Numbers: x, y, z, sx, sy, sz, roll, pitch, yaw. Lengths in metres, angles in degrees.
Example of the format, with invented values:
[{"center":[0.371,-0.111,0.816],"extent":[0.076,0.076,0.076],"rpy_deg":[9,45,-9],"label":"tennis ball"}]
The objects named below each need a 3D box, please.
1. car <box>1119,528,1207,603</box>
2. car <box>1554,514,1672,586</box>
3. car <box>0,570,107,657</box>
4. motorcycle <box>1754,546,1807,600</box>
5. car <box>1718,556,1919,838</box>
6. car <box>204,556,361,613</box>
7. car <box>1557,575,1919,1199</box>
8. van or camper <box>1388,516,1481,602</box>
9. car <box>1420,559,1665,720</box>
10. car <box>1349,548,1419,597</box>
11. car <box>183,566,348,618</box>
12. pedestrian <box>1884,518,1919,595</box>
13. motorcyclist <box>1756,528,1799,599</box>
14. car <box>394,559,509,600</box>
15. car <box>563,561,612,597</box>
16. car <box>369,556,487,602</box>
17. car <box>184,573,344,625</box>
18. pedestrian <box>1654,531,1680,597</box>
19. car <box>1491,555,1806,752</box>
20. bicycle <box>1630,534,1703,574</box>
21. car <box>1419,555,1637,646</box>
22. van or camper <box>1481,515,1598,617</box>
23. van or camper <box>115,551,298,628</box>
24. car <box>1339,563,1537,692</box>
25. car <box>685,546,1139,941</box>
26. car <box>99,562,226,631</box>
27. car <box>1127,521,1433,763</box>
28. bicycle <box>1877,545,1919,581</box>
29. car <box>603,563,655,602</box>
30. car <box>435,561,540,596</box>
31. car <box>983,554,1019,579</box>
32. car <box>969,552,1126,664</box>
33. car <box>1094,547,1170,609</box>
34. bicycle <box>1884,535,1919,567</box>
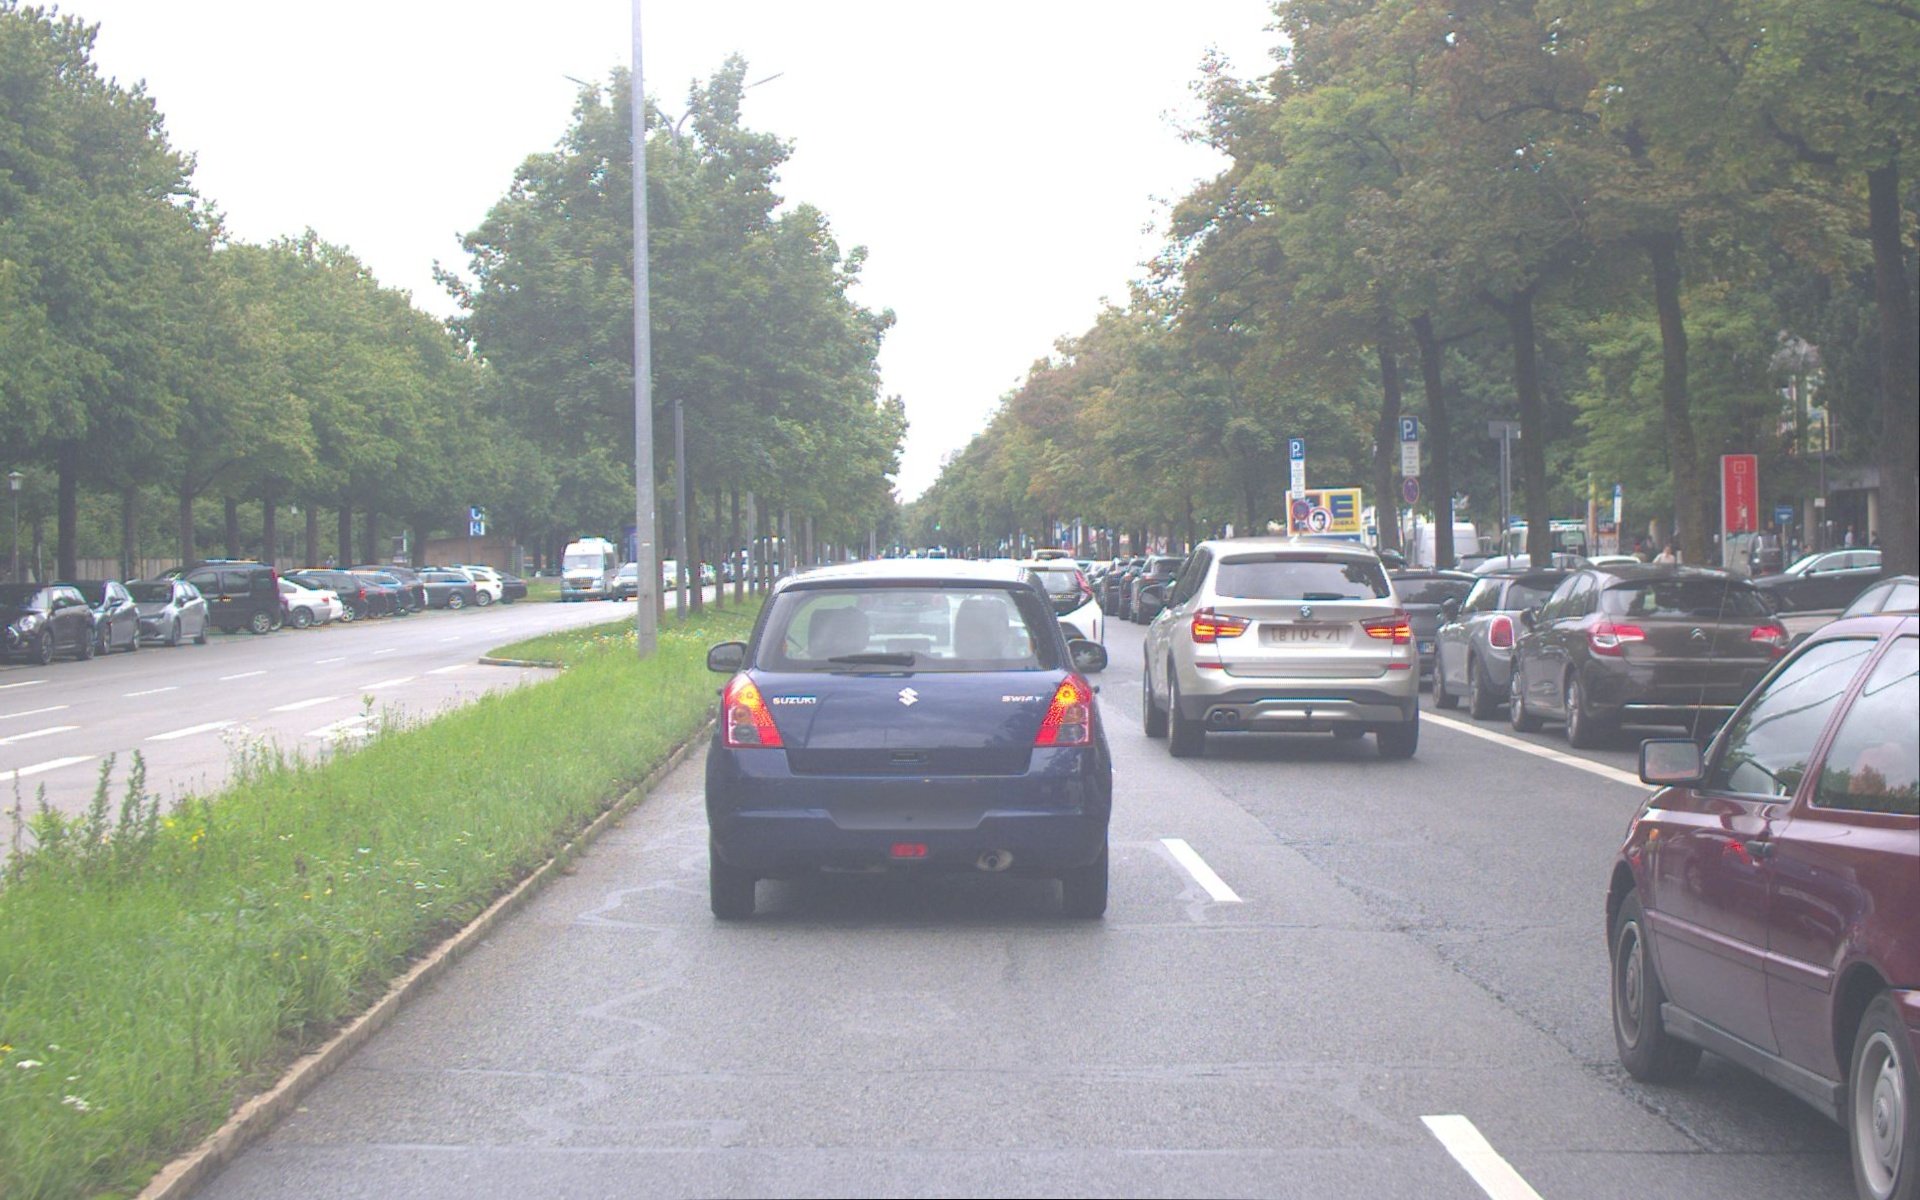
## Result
[{"center":[4.750,-0.823,81.069],"extent":[1.761,1.695,4.820],"rpy_deg":[-1,1,0],"label":"car"},{"center":[15.510,-1.178,81.848],"extent":[1.993,1.645,4.000],"rpy_deg":[-1,1,0],"label":"car"},{"center":[-17.152,0.219,63.369],"extent":[1.571,1.498,4.303],"rpy_deg":[1,1,3],"label":"car"},{"center":[20.538,-0.678,86.122],"extent":[0.696,1.286,2.066],"rpy_deg":[-5,1,-1],"label":"motorcycle"},{"center":[5.856,0.524,20.759],"extent":[1.542,1.529,4.091],"rpy_deg":[2,1,-1],"label":"car"},{"center":[-20.035,-0.471,101.724],"extent":[4.096,1.592,1.919],"rpy_deg":[-1,1,-39],"label":"car"},{"center":[2.692,0.677,8.576],"extent":[1.622,1.449,3.950],"rpy_deg":[-1,1,-1],"label":"car"},{"center":[14.728,-1.283,106.992],"extent":[2.024,2.549,5.957],"rpy_deg":[-1,1,0],"label":"van or camper"},{"center":[5.588,0.336,33.408],"extent":[1.634,1.448,4.078],"rpy_deg":[-1,1,-1],"label":"car"},{"center":[14.597,-0.964,118.514],"extent":[1.684,1.627,4.499],"rpy_deg":[-1,1,-2],"label":"car"},{"center":[-18.835,-0.226,93.272],"extent":[3.987,1.349,1.850],"rpy_deg":[-1,1,-35],"label":"car"},{"center":[21.630,-1.002,78.349],"extent":[0.828,1.715,0.940],"rpy_deg":[-3,1,-1],"label":"pedestrian"},{"center":[20.529,-0.914,86.359],"extent":[0.691,1.731,0.953],"rpy_deg":[-5,1,-1],"label":"motorcyclist"},{"center":[-20.262,-0.816,137.044],"extent":[4.095,1.579,1.919],"rpy_deg":[-1,1,-34],"label":"car"},{"center":[-16.763,-0.947,154.755],"extent":[1.913,1.537,4.188],"rpy_deg":[-1,1,-2],"label":"car"},{"center":[-20.641,-0.819,133.406],"extent":[4.095,1.689,1.919],"rpy_deg":[-1,1,-34],"label":"car"},{"center":[-19.444,-0.053,96.103],"extent":[4.031,1.377,1.674],"rpy_deg":[-1,1,-36],"label":"car"},{"center":[18.821,-0.965,91.542],"extent":[0.575,1.745,0.732],"rpy_deg":[0,1,4],"label":"pedestrian"},{"center":[5.658,0.386,28.718],"extent":[1.717,1.503,4.224],"rpy_deg":[-1,1,-1],"label":"car"},{"center":[26.836,-1.743,130.593],"extent":[2.609,1.503,0.798],"rpy_deg":[-1,1,-7],"label":"bicycle"},{"center":[10.593,-0.013,63.880],"extent":[1.971,1.619,4.836],"rpy_deg":[0,0,37],"label":"car"},{"center":[15.189,-0.907,90.381],"extent":[1.993,2.549,5.957],"rpy_deg":[-1,1,0],"label":"van or camper"},{"center":[-18.988,-0.283,86.734],"extent":[4.114,1.848,1.849],"rpy_deg":[-1,1,-41],"label":"van or camper"},{"center":[5.657,0.284,41.129],"extent":[1.633,1.434,4.305],"rpy_deg":[-1,1,-2],"label":"car"},{"center":[-0.271,0.543,15.652],"extent":[1.789,1.550,4.000],"rpy_deg":[-1,1,-2],"label":"car"},{"center":[-17.479,-0.098,75.525],"extent":[1.636,1.434,4.809],"rpy_deg":[1,1,0],"label":"car"},{"center":[2.419,0.277,26.975],"extent":[1.850,1.737,4.098],"rpy_deg":[-1,1,-2],"label":"car"},{"center":[26.232,-1.018,94.193],"extent":[2.046,0.954,0.744],"rpy_deg":[0,1,43],"label":"bicycle"},{"center":[-13.757,-0.733,142.960],"extent":[1.913,1.537,4.188],"rpy_deg":[-1,1,-2],"label":"car"},{"center":[-20.100,-0.890,146.278],"extent":[4.094,1.469,1.705],"rpy_deg":[0,0,-34],"label":"car"},{"center":[2.406,-2.005,202.681],"extent":[1.850,1.442,4.098],"rpy_deg":[-1,1,-2],"label":"car"},{"center":[1.140,0.078,46.601],"extent":[1.850,1.442,4.098],"rpy_deg":[-1,1,-2],"label":"car"},{"center":[4.680,-0.618,94.110],"extent":[1.764,1.646,4.424],"rpy_deg":[0,1,-1],"label":"car"},{"center":[26.855,-1.368,95.132],"extent":[2.401,0.867,0.769],"rpy_deg":[0,1,43],"label":"bicycle"}]
